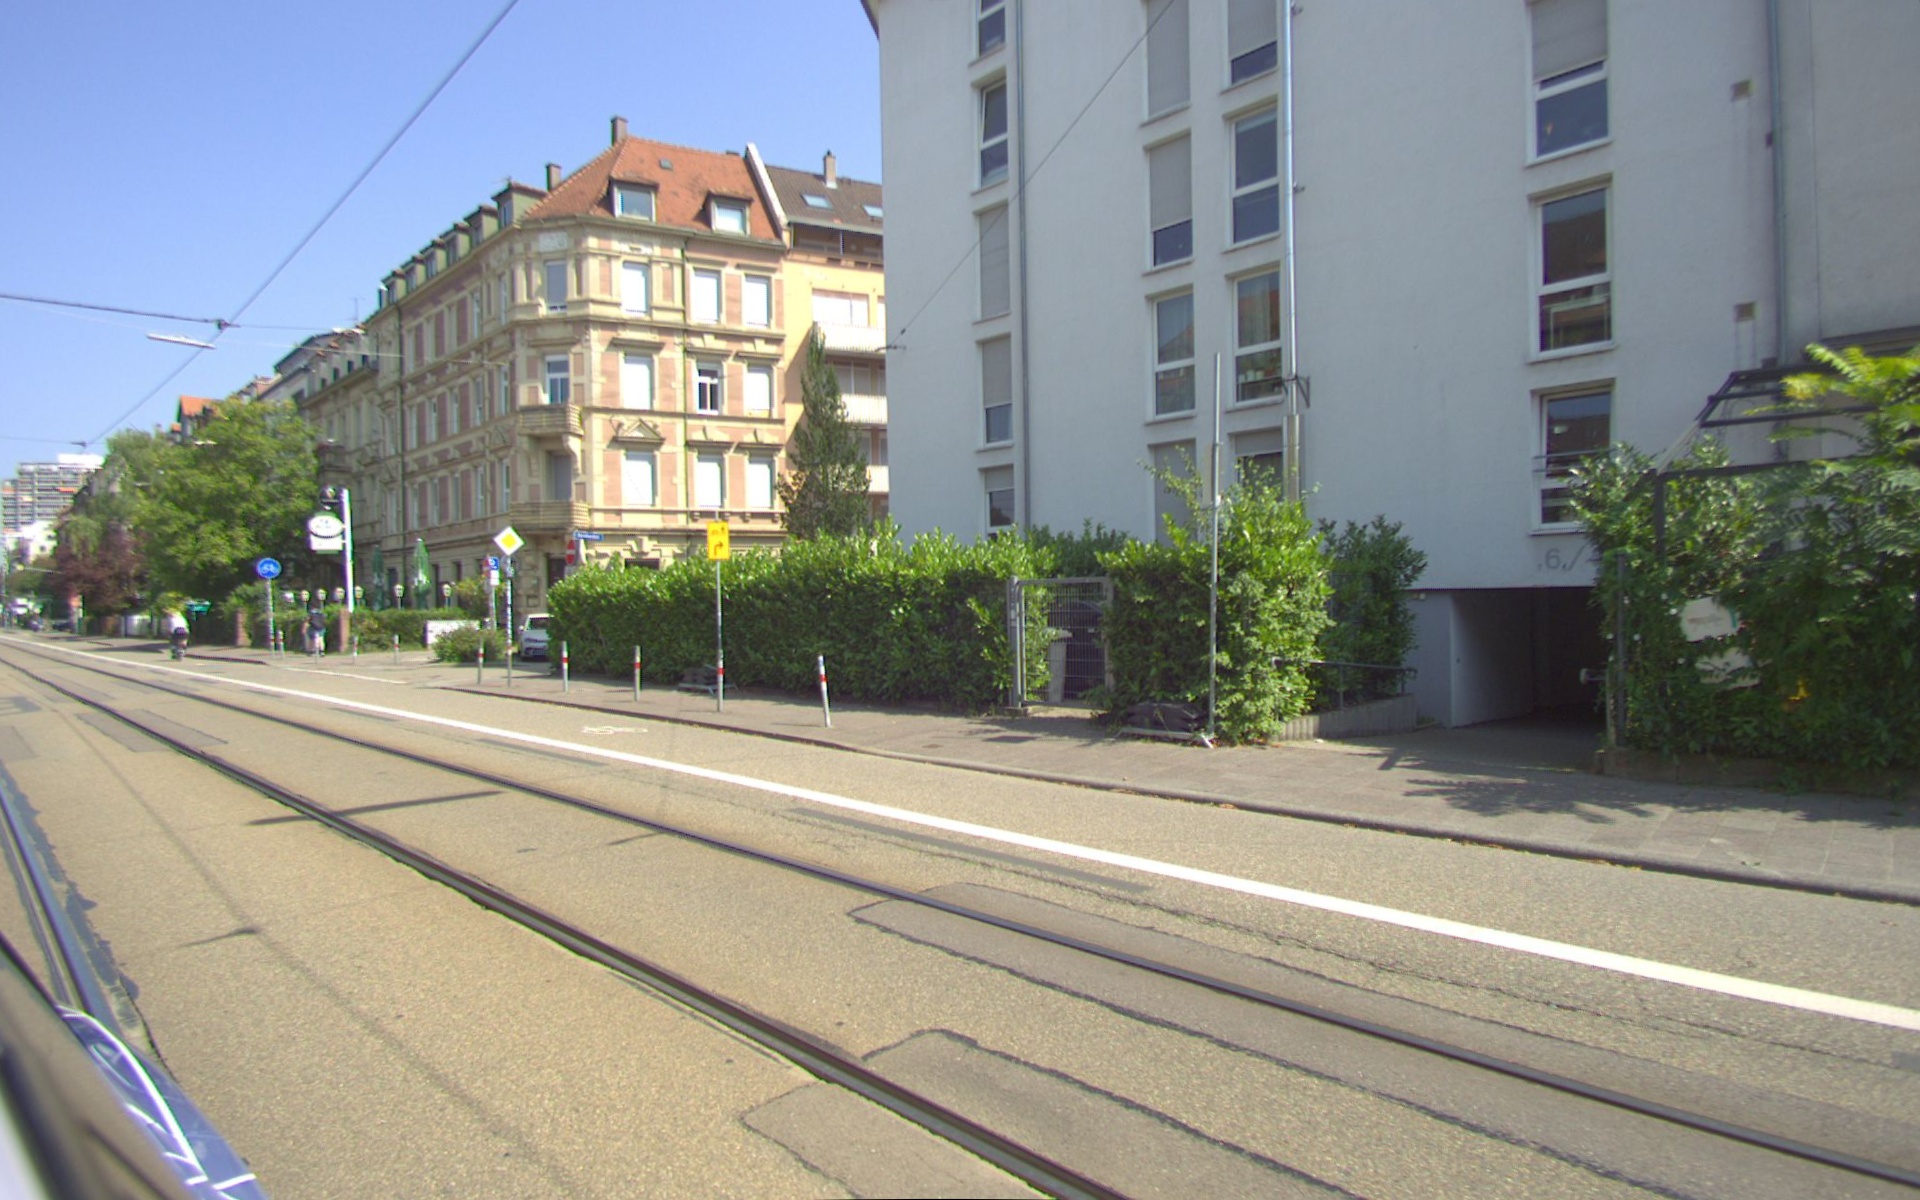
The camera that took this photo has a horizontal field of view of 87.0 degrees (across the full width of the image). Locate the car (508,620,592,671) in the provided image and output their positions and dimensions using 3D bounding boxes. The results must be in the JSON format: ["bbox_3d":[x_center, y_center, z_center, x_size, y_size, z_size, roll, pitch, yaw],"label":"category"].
[{"bbox_3d":[-13.104,1.408,32.578,1.966,1.500,4.156,-1,-1,-15],"label":"car"}]

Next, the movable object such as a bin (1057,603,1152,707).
[{"bbox_3d":[2.115,0.768,14.742,0.801,1.434,1.217,-2,-1,42],"label":"movable object such as a bin"}]

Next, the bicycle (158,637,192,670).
[{"bbox_3d":[-27.176,1.840,35.029,1.915,1.085,0.633,-2,-1,42],"label":"bicycle"}]

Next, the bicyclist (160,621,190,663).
[{"bbox_3d":[-27.181,1.442,35.039,0.974,1.439,0.648,-2,-1,42],"label":"bicyclist"}]

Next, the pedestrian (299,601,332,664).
[{"bbox_3d":[-21.064,1.064,33.055,0.974,2.029,0.649,-2,-1,40],"label":"pedestrian"}]
